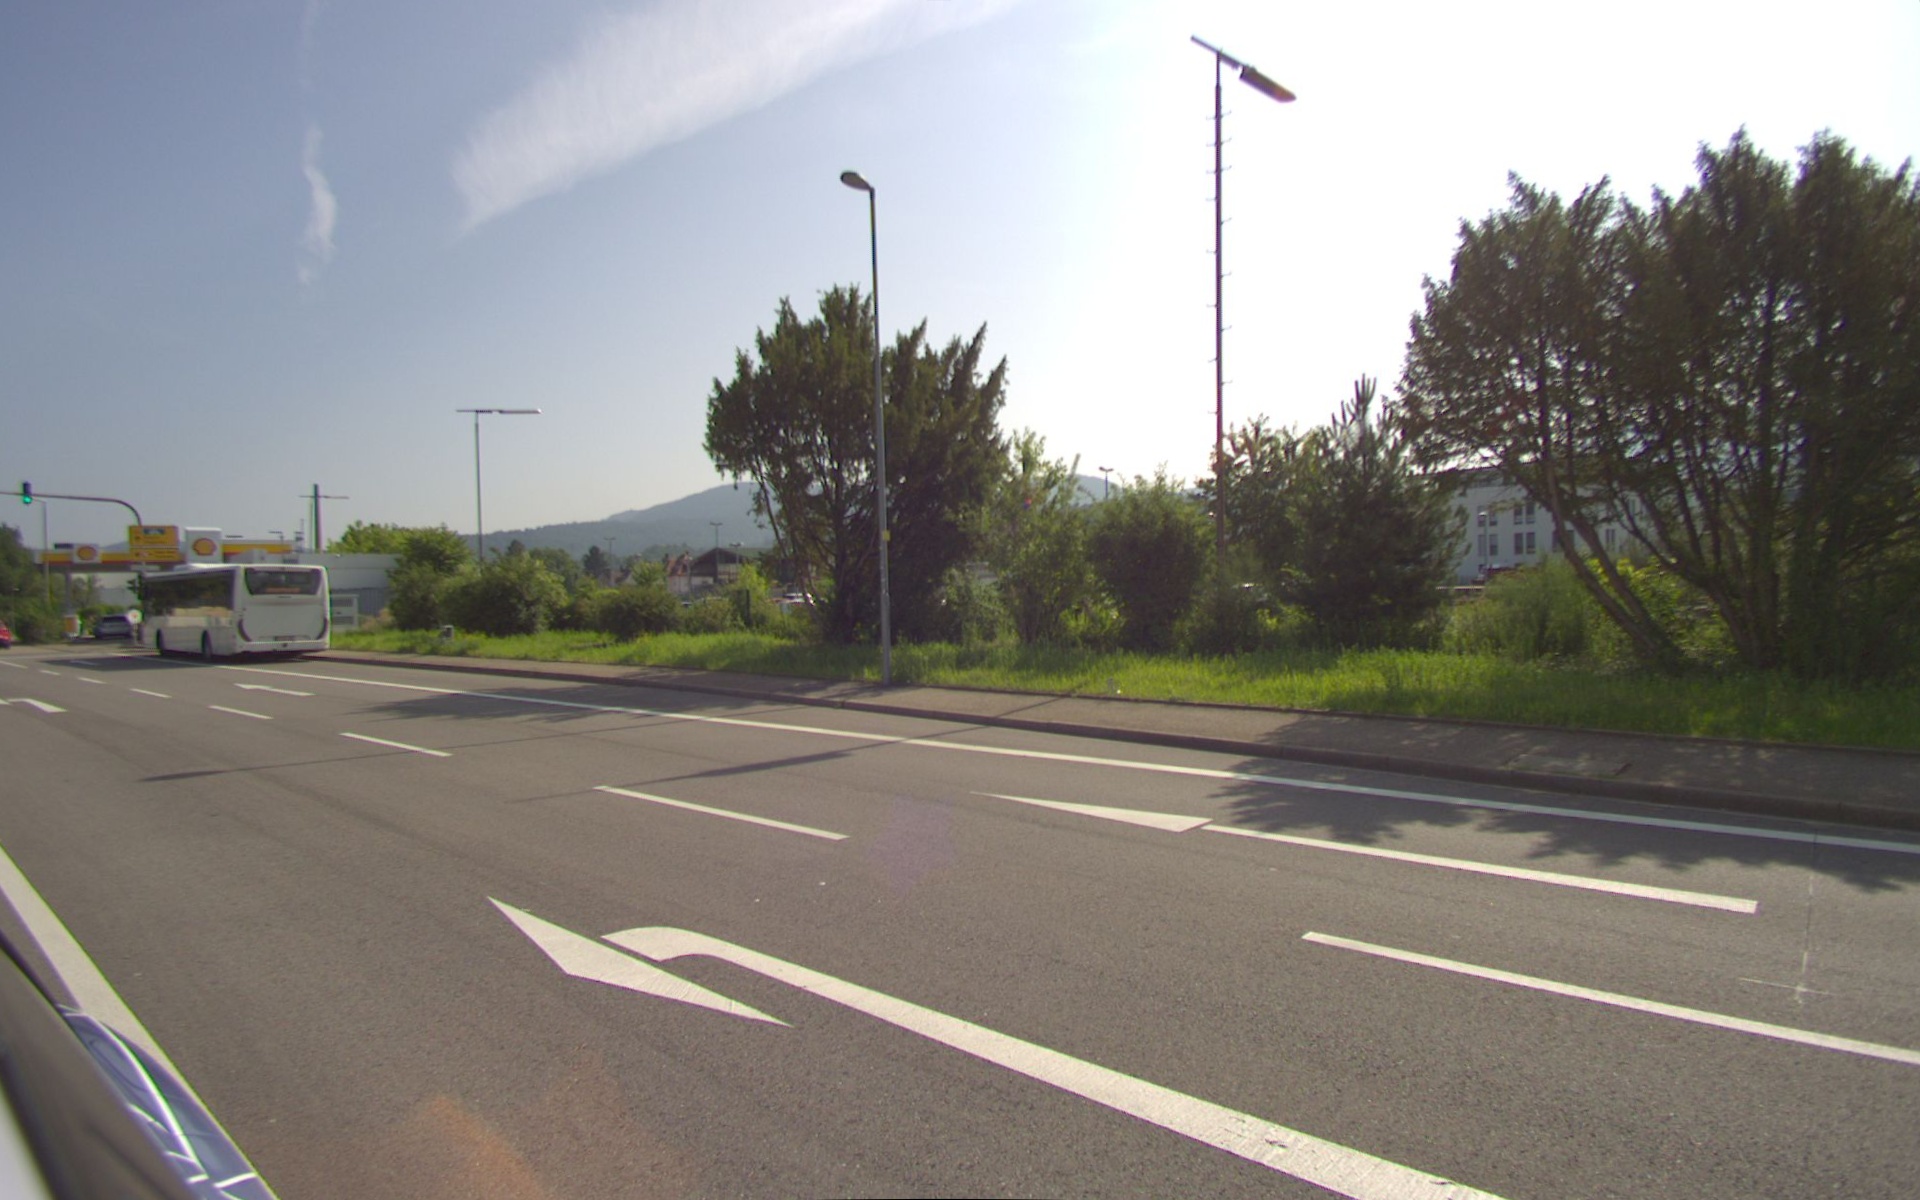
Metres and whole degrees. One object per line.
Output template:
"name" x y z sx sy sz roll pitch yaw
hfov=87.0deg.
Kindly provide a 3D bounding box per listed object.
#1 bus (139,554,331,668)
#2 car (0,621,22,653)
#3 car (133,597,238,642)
"bus" -24.944 0.386 34.419 11.950 3.335 2.594 -1 0 41
"car" -48.036 1.825 50.135 4.429 1.503 1.818 -1 0 41
"car" -37.137 0.928 48.547 3.733 1.808 1.703 -6 3 -44
